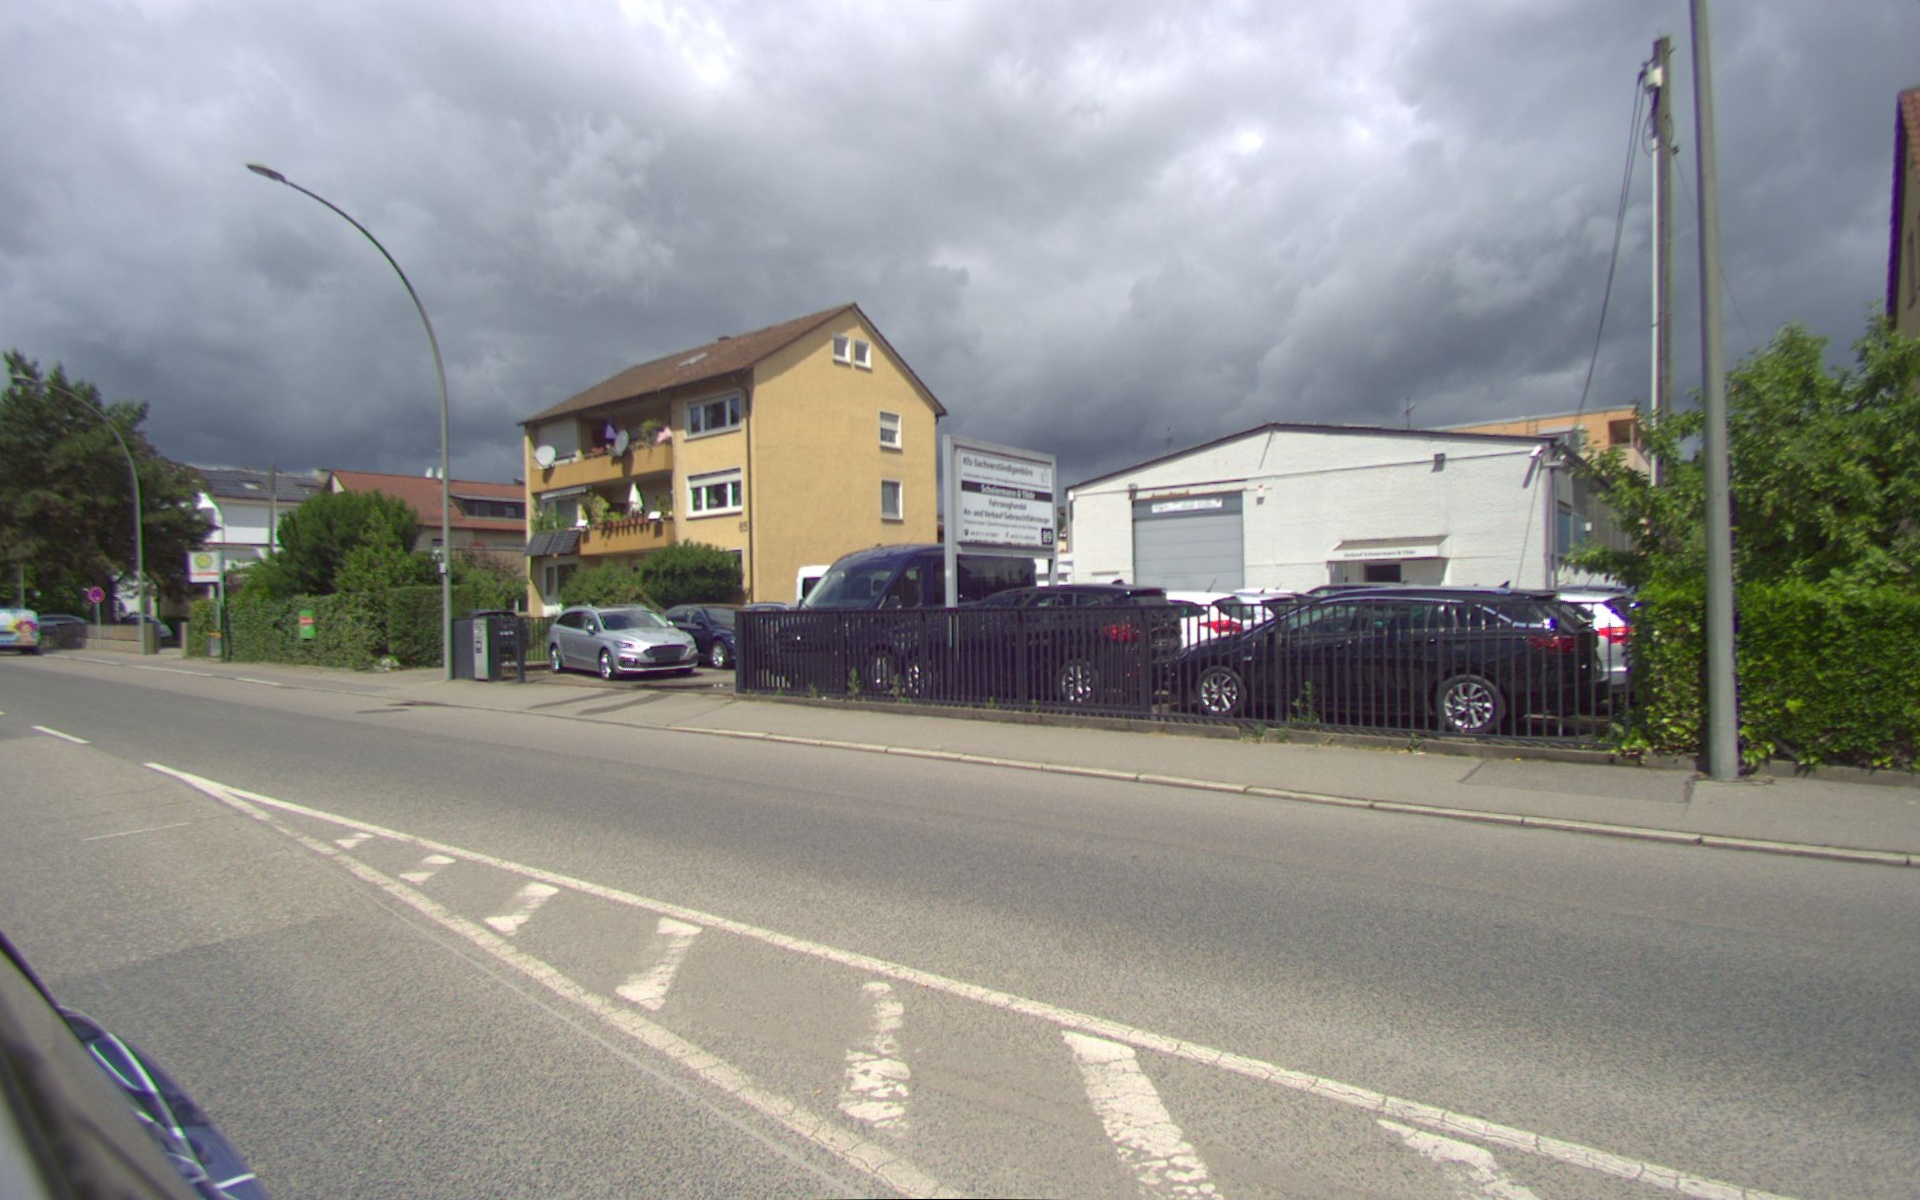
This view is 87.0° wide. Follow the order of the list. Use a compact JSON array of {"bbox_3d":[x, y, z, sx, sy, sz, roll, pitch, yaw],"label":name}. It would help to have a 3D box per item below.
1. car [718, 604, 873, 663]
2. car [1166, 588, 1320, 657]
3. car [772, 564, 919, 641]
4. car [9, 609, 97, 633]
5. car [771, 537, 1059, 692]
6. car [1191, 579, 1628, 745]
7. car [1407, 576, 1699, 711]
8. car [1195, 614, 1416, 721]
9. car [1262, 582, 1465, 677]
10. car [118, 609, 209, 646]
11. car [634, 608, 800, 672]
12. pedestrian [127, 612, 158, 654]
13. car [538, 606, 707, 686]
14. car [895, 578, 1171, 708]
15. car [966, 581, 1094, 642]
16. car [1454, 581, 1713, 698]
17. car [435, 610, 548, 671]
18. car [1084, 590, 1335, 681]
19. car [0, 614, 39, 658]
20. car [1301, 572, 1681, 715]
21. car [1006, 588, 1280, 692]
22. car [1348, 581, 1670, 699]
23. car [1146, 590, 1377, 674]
[{"bbox_3d":[-4.319,0.827,26.291,3.998,1.383,1.859,-1,0,41],"label":"car"},{"bbox_3d":[8.458,0.650,30.425,3.998,1.941,1.973,-1,0,41],"label":"car"},{"bbox_3d":[-3.294,0.074,28.722,3.998,2.029,1.973,-1,0,41],"label":"car"},{"bbox_3d":[-68.429,1.541,76.419,2.216,1.691,4.676,-1,0,39],"label":"car"},{"bbox_3d":[-0.640,0.216,18.357,2.104,2.402,5.293,-1,0,42],"label":"car"},{"bbox_3d":[4.809,0.567,11.125,4.040,1.494,1.840,-1,0,40],"label":"car"},{"bbox_3d":[10.011,0.662,17.237,3.998,2.029,1.973,-1,0,41],"label":"car"},{"bbox_3d":[7.298,1.326,21.561,3.998,2.029,1.973,-1,0,41],"label":"car"},{"bbox_3d":[9.386,0.633,23.699,3.998,2.029,1.973,-1,0,41],"label":"car"},{"bbox_3d":[-46.362,1.582,58.942,3.954,2.029,1.995,-1,0,9],"label":"car"},{"bbox_3d":[-5.787,0.890,23.893,3.998,1.352,1.861,-1,0,41],"label":"car"},{"bbox_3d":[-45.256,1.829,56.012,1.071,2.256,0.784,-1,0,0],"label":"pedestrian"},{"bbox_3d":[-7.276,0.894,21.572,1.861,1.470,4.356,-2,1,-41],"label":"car"},{"bbox_3d":[0.981,0.552,14.555,3.619,1.633,1.790,-1,0,41],"label":"car"},{"bbox_3d":[2.372,0.376,34.626,3.998,1.941,1.973,-1,0,41],"label":"car"},{"bbox_3d":[11.967,0.693,19.539,3.998,2.029,1.973,-1,0,41],"label":"car"},{"bbox_3d":[-14.077,1.159,30.379,3.520,1.678,1.807,-1,0,41],"label":"car"},{"bbox_3d":[4.353,0.575,17.990,3.998,1.423,1.716,-1,0,41],"label":"car"},{"bbox_3d":[-39.300,1.443,41.451,3.995,1.693,1.708,-1,0,39],"label":"car"},{"bbox_3d":[6.744,0.480,13.060,3.998,1.552,1.973,-1,0,41],"label":"car"},{"bbox_3d":[2.870,0.572,16.316,3.998,1.470,1.795,-1,0,41],"label":"car"},{"bbox_3d":[8.285,0.538,15.445,3.998,1.560,1.973,-1,0,41],"label":"car"},{"bbox_3d":[5.878,0.580,19.984,3.998,1.498,1.742,-1,0,41],"label":"car"}]
